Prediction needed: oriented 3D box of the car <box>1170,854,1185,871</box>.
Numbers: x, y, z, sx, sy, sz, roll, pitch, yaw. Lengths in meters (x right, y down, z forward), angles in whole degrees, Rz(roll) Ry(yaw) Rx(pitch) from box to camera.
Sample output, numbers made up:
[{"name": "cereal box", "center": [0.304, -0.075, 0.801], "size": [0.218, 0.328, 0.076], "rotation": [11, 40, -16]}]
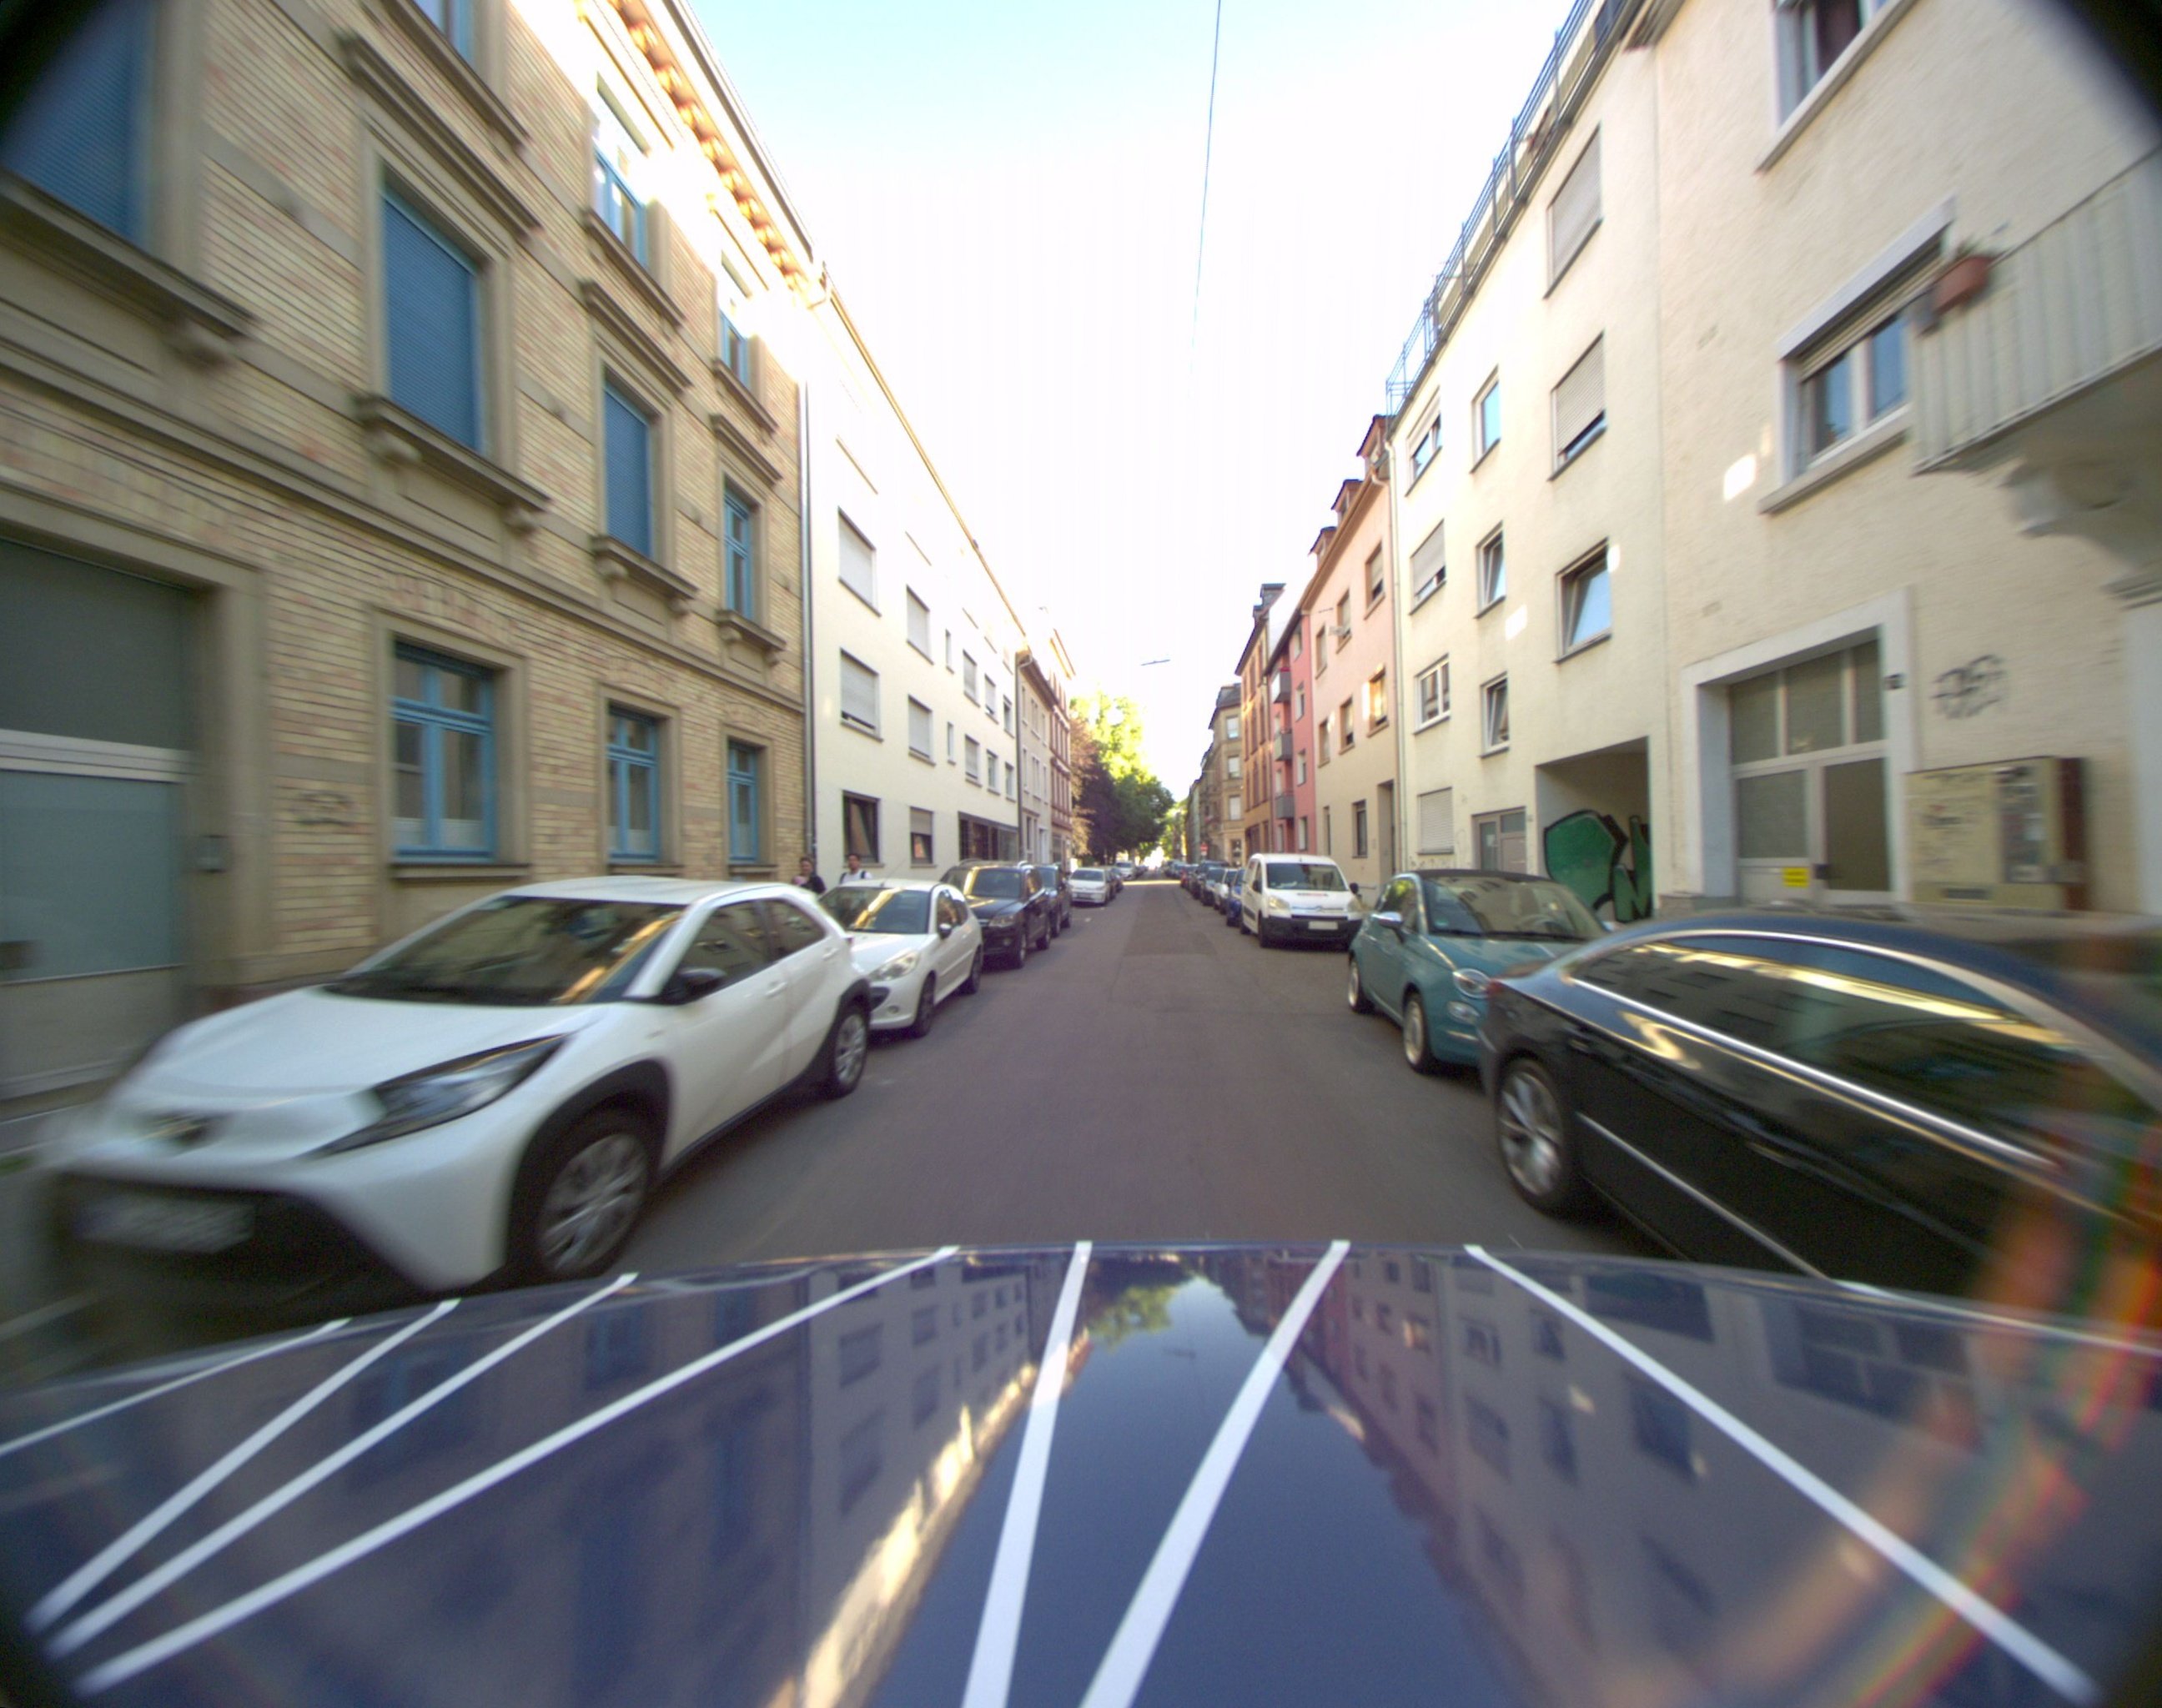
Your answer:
[{"name": "car", "center": [12.510, 1.108, 98.853], "size": [1.768, 2.074, 4.266], "rotation": [2, 0, 6]}]

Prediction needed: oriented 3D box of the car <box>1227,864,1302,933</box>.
[{"name": "car", "center": [4.684, 1.071, 19.835], "size": [1.673, 1.518, 4.089], "rotation": [2, 0, 11]}]

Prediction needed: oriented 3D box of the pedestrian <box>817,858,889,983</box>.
[{"name": "pedestrian", "center": [-3.262, 0.921, 10.921], "size": [0.711, 1.699, 0.752], "rotation": [2, 0, 5]}]

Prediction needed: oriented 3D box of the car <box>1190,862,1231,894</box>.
[{"name": "car", "center": [6.632, 1.206, 39.164], "size": [1.768, 1.524, 4.105], "rotation": [1, 0, 6]}]

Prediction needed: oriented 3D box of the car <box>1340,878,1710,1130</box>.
[{"name": "car", "center": [3.415, 1.003, 6.614], "size": [1.596, 1.442, 3.488], "rotation": [2, 0, 9]}]

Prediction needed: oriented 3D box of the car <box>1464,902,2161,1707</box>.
[{"name": "car", "center": [2.702, 0.981, 1.715], "size": [1.783, 1.435, 4.394], "rotation": [2, 0, 6]}]

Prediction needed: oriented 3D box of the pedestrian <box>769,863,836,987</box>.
[{"name": "pedestrian", "center": [-3.985, 0.990, 10.921], "size": [0.598, 1.699, 0.707], "rotation": [2, 0, 5]}]

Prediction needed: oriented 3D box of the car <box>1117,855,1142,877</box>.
[{"name": "car", "center": [4.625, 1.152, 72.117], "size": [1.865, 1.970, 4.484], "rotation": [2, 0, 9]}]

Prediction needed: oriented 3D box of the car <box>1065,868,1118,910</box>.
[{"name": "car", "center": [0.486, 1.370, 30.986], "size": [1.768, 1.508, 4.105], "rotation": [2, 0, 6]}]

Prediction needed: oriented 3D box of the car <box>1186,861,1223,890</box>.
[{"name": "car", "center": [7.045, 1.170, 43.669], "size": [1.768, 1.524, 4.105], "rotation": [2, 0, 6]}]

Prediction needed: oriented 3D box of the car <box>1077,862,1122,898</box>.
[{"name": "car", "center": [0.912, 1.162, 35.355], "size": [1.768, 1.524, 4.105], "rotation": [1, 0, 6]}]

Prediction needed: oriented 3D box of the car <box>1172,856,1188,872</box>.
[{"name": "car", "center": [11.937, 1.212, 92.170], "size": [1.768, 1.914, 4.266], "rotation": [2, 0, 6]}]

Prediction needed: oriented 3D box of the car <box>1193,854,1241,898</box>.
[{"name": "car", "center": [6.058, 0.932, 34.239], "size": [1.768, 1.814, 4.105], "rotation": [2, 0, 6]}]

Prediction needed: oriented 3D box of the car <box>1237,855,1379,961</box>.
[{"name": "car", "center": [4.247, 0.913, 14.916], "size": [1.753, 1.731, 4.316], "rotation": [2, 0, 4]}]

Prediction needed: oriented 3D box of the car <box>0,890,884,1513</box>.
[{"name": "car", "center": [-2.501, 1.056, 4.052], "size": [1.596, 1.576, 3.766], "rotation": [0, -1, 6]}]

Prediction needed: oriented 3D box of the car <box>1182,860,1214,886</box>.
[{"name": "car", "center": [7.561, 1.187, 49.388], "size": [1.768, 1.524, 4.105], "rotation": [2, 0, 6]}]

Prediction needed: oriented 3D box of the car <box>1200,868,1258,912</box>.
[{"name": "car", "center": [5.554, 1.299, 28.910], "size": [1.768, 1.463, 3.818], "rotation": [2, 0, 6]}]

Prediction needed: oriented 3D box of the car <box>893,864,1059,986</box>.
[{"name": "car", "center": [-1.592, 1.045, 13.125], "size": [1.769, 1.657, 4.330], "rotation": [2, 0, 7]}]

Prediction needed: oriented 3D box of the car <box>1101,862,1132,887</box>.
[{"name": "car", "center": [2.400, 1.335, 50.351], "size": [1.768, 1.524, 4.105], "rotation": [2, 0, 6]}]

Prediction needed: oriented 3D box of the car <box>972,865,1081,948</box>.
[{"name": "car", "center": [-1.163, 1.147, 18.308], "size": [1.885, 1.657, 4.330], "rotation": [2, 0, 6]}]

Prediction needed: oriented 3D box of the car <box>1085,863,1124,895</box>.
[{"name": "car", "center": [1.295, 1.249, 39.807], "size": [1.768, 1.524, 4.105], "rotation": [1, 0, 6]}]

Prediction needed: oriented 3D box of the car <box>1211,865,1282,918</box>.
[{"name": "car", "center": [5.168, 1.137, 24.230], "size": [1.674, 1.450, 4.086], "rotation": [2, 0, 5]}]

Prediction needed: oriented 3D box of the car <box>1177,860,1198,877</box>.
[{"name": "car", "center": [10.176, 1.379, 72.789], "size": [1.768, 1.463, 3.934], "rotation": [2, 0, 6]}]

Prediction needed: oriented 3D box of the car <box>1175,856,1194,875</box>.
[{"name": "car", "center": [10.608, 1.154, 78.153], "size": [1.768, 1.846, 3.995], "rotation": [2, 0, 6]}]

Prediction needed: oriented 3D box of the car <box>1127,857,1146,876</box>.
[{"name": "car", "center": [5.754, 1.268, 78.642], "size": [1.768, 1.845, 4.288], "rotation": [-1, 0, 6]}]

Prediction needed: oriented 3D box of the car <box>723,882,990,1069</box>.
[{"name": "car", "center": [-2.136, 1.089, 8.395], "size": [1.597, 1.442, 4.004], "rotation": [0, 0, 3]}]

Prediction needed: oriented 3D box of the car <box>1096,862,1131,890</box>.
[{"name": "car", "center": [1.954, 1.252, 44.920], "size": [1.768, 1.524, 4.105], "rotation": [2, 0, 6]}]
